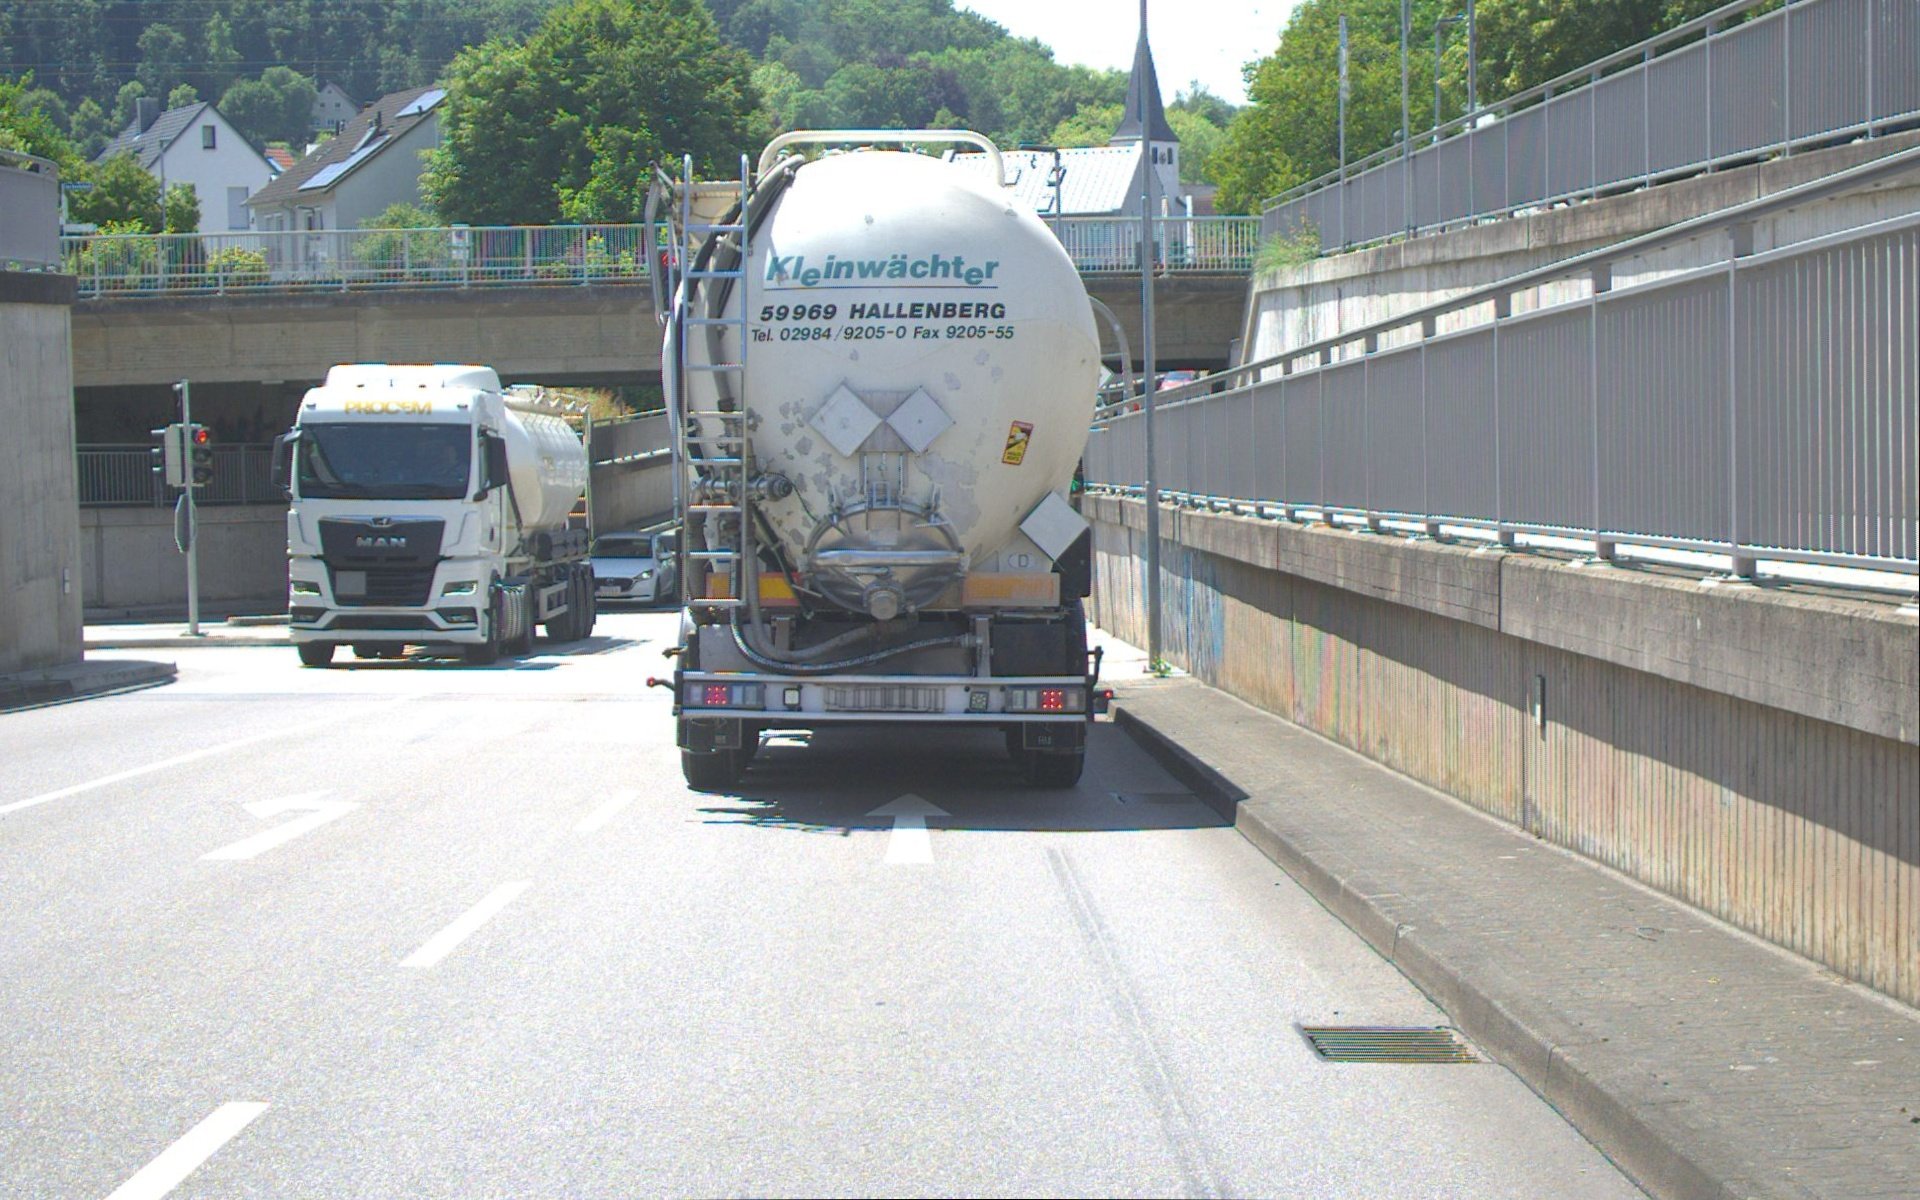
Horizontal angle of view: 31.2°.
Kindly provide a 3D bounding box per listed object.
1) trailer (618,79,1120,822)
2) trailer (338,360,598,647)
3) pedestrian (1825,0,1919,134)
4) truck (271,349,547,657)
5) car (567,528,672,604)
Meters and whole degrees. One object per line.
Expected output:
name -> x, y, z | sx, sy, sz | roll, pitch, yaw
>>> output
trailer -> -0.538, -0.912, 25.421 | 2.735, 4.050, 13.313 | 0, 1, 0
trailer -> -7.282, -1.391, 52.114 | 2.610, 3.950, 9.347 | 0, 1, 0
pedestrian -> 7.186, -4.573, 26.929 | 0.673, 1.773, 0.594 | -1, 4, 1
truck -> -7.276, -1.253, 46.256 | 2.662, 3.847, 6.580 | 0, 1, 0
car -> -6.862, -0.710, 69.598 | 1.682, 1.435, 4.094 | 2, 1, 0
